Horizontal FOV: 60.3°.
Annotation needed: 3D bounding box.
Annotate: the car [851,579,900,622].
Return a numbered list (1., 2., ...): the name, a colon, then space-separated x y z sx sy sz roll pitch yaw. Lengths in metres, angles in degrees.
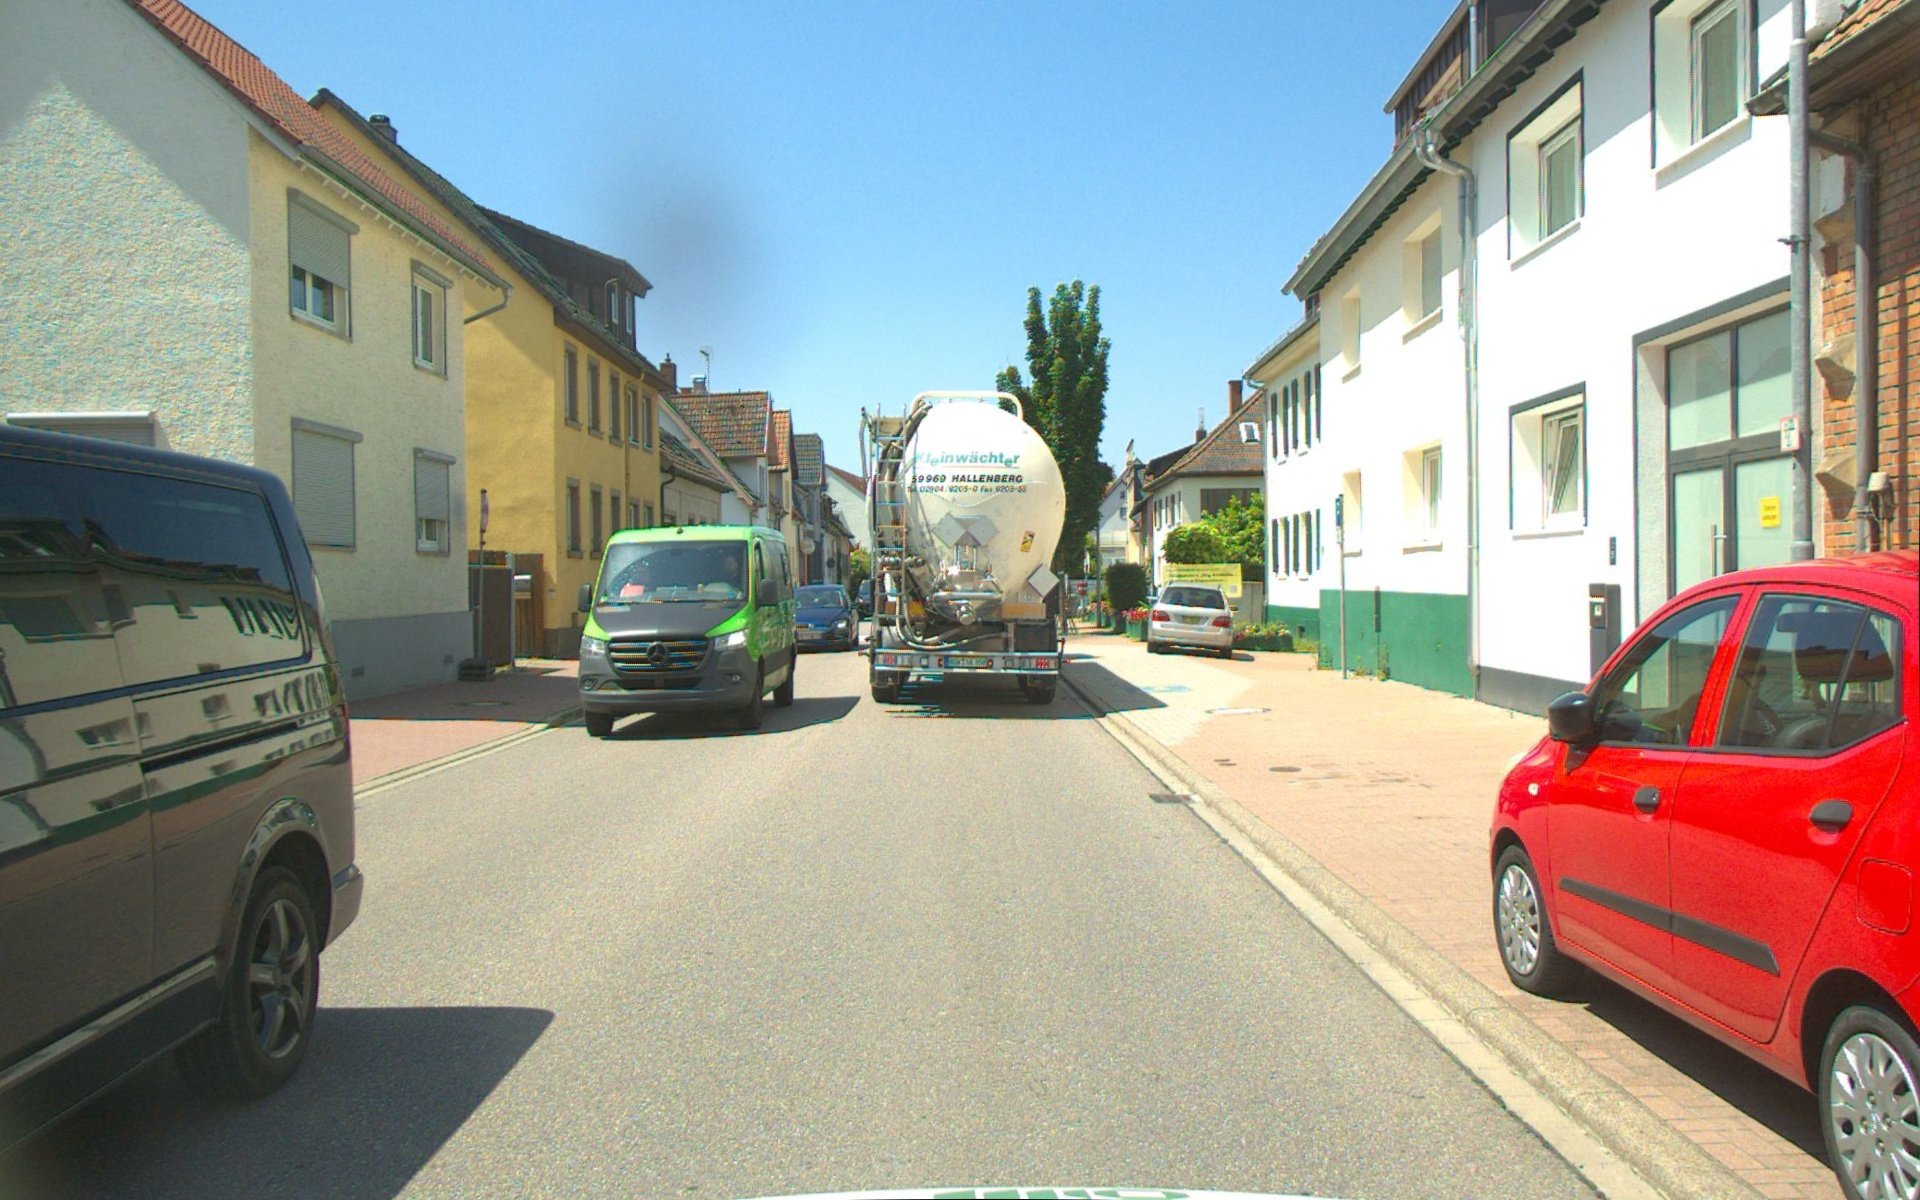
1. car: -3.534 0.002 69.791 1.802 1.699 4.323 -2 1 -1

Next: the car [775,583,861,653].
1. car: -3.421 0.409 40.462 1.729 1.563 4.078 -2 1 -1

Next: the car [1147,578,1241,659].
1. car: 5.038 0.331 35.590 1.776 1.488 4.889 4 1 8

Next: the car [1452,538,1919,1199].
1. car: 2.849 0.610 5.010 1.577 1.554 3.676 -1 1 0

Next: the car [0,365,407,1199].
1. car: -2.899 0.527 3.370 1.843 1.977 5.117 -2 0 -1

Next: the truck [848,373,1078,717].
1. truck: -0.056 -0.651 23.615 2.677 4.029 8.139 1 0 -1

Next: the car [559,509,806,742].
1. car: -3.195 0.234 20.413 2.009 2.394 6.081 -2 1 -1
